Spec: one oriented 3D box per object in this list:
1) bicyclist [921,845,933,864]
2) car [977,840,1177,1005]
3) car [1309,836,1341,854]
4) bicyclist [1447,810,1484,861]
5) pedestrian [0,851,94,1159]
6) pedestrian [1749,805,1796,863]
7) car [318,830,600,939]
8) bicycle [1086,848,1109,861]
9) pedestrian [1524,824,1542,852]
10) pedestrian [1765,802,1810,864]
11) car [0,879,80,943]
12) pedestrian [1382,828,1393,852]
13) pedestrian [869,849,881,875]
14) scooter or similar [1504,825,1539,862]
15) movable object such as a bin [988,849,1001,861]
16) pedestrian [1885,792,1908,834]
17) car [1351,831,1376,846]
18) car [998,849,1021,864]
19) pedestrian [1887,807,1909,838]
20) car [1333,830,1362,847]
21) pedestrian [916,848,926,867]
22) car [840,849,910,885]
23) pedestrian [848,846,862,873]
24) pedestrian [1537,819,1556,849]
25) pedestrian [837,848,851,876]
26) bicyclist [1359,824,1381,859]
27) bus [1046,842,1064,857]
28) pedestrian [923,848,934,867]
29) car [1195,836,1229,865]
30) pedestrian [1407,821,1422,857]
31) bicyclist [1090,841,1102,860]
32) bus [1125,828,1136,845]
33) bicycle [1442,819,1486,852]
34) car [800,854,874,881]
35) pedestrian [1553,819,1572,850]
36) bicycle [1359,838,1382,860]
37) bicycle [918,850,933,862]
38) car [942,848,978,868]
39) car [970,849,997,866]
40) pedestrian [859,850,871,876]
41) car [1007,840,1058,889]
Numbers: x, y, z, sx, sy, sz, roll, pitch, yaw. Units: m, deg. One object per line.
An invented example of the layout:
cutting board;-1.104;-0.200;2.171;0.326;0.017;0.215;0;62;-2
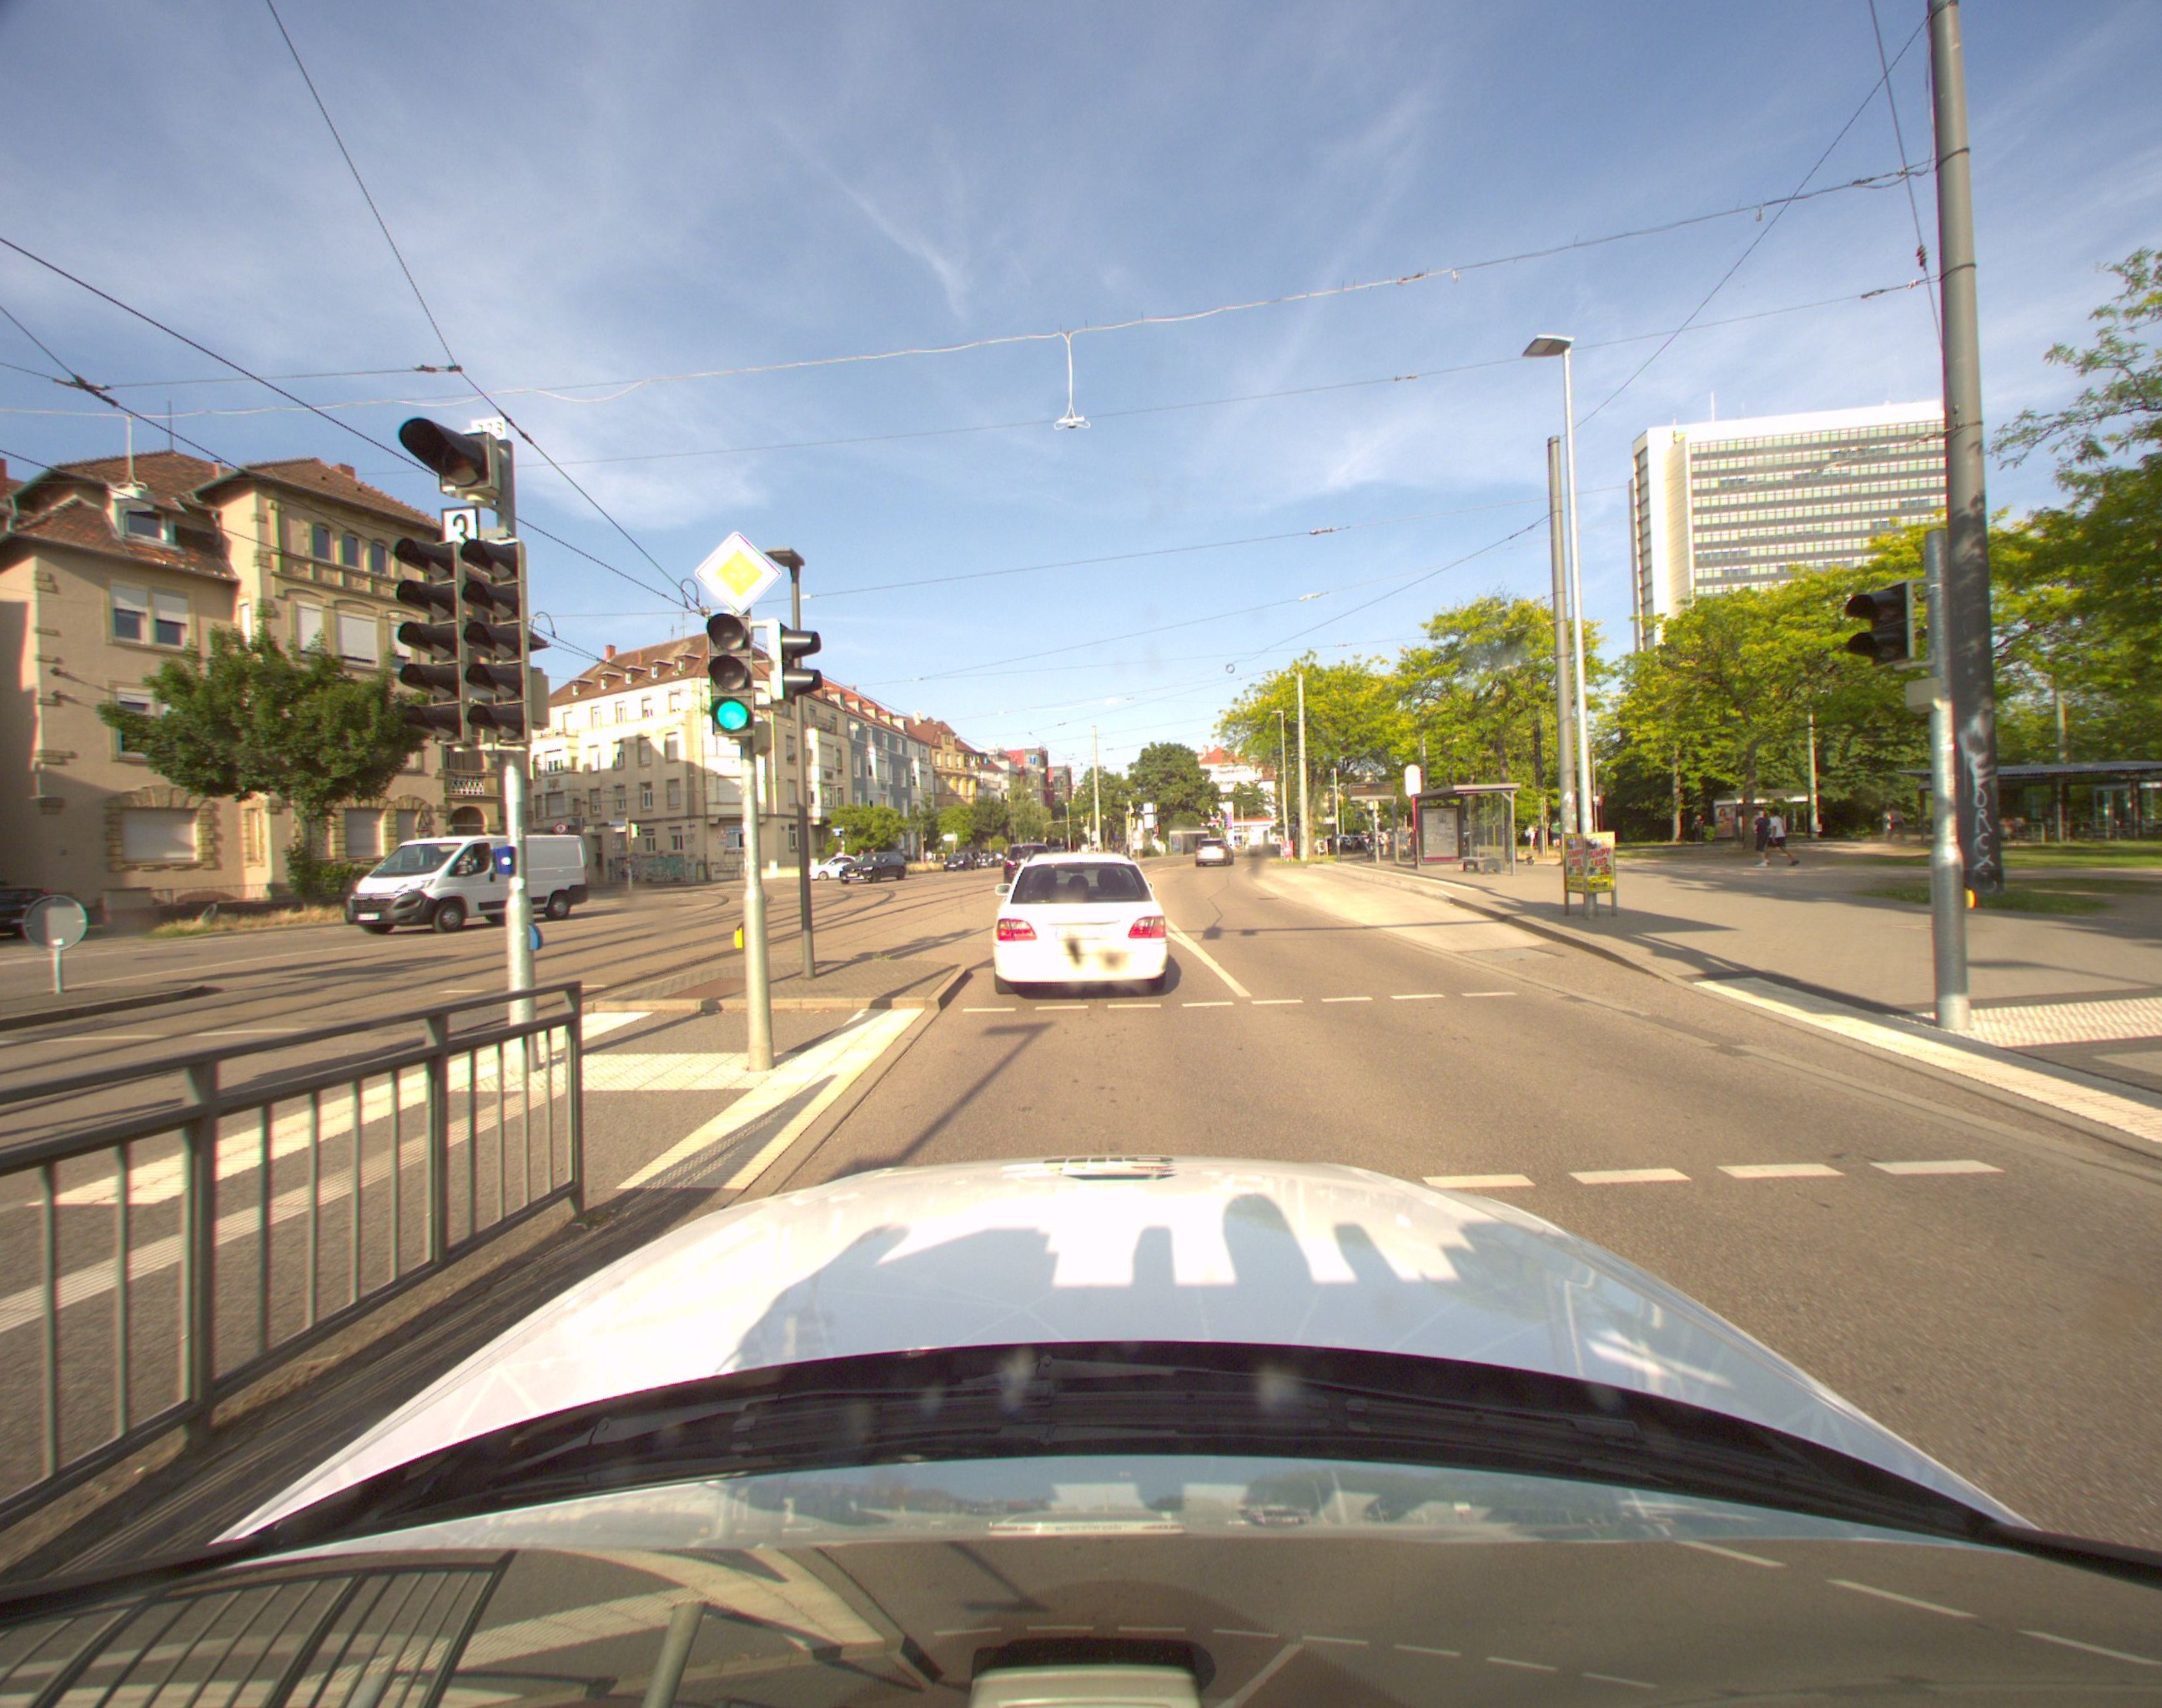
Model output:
bicyclist;-13.228;0.035;69.992;0.757;1.668;1.168;-2;0;2
car;0.010;0.618;9.436;1.829;1.501;3.816;-1;0;1
car;23.074;-0.868;76.896;1.835;1.515;4.026;-4;0;31
bicyclist;13.810;-0.663;29.256;0.647;1.745;1.140;-5;0;0
pedestrian;-6.340;0.839;4.508;0.877;1.670;0.672;-2;0;3
pedestrian;21.446;-0.614;25.266;0.673;1.777;0.875;0;0;-18
car;-14.700;0.600;19.789;2.163;2.239;5.268;-2;1;10
bicycle;1.478;0.053;72.776;1.907;0.994;0.727;-4;0;1
pedestrian;26.055;-0.908;46.956;0.638;1.610;0.691;-2;0;1
pedestrian;22.187;-0.644;25.579;0.674;1.897;0.872;0;0;-26
car;-30.273;1.601;22.866;3.950;1.632;1.787;-2;1;26
pedestrian;21.516;-0.978;57.120;0.636;1.665;0.694;-2;0;17
pedestrian;-15.048;0.553;59.590;0.581;1.881;0.628;-2;0;6
scooter or similar;15.261;-0.356;28.227;0.351;1.232;1.131;-2;0;-13
movable object such as a bin;-11.040;0.085;104.505;1.601;1.421;1.082;-3;0;-6
pedestrian;36.825;-1.833;36.778;0.462;1.868;0.601;0;-1;-25
car;31.692;-1.703;91.275;1.836;1.515;4.025;-4;0;30
car;-7.753;0.293;88.679;1.681;1.441;4.006;-2;1;5
pedestrian;47.038;-1.810;46.885;0.666;1.800;0.613;0;0;15
car;26.731;-1.587;81.596;1.836;1.515;4.025;-4;0;30
pedestrian;-14.606;0.318;74.326;0.635;1.751;0.912;-2;0;4
car;-10.407;0.613;41.468;1.757;1.494;4.754;-2;2;7
pedestrian;-15.871;0.407;57.260;0.670;1.848;0.651;-2;0;8
pedestrian;26.311;-1.129;46.032;0.638;1.665;0.691;-2;0;1
pedestrian;-16.628;0.563;57.216;0.655;1.881;0.627;-2;0;5
bicyclist;15.149;-0.637;42.695;0.716;1.745;1.142;-5;0;5
bus;-3.005;-0.511;95.489;1.838;1.636;4.160;-2;0;1
pedestrian;-13.914;0.302;74.282;0.635;1.751;0.912;-2;0;4
car;7.642;-0.219;47.298;1.823;1.600;3.827;-1;0;11
pedestrian;16.883;-0.765;41.219;0.574;1.777;0.589;0;0;9
bicyclist;1.326;-0.303;72.773;0.896;1.699;0.733;-4;0;2
bus;7.803;-2.699;128.165;1.790;2.555;4.003;0;0;3
bicycle;13.792;-0.657;29.398;0.638;1.088;1.940;-5;0;1
car;-15.274;0.840;50.975;4.020;1.457;1.779;-3;1;-38
pedestrian;26.652;-1.056;45.074;0.638;1.665;0.691;-2;0;1
bicycle;15.233;-0.243;42.911;0.637;1.088;1.736;-5;0;5
bicycle;-13.263;0.200;69.616;0.766;0.965;2.036;-2;1;3
car;-9.350;0.286;63.149;1.758;1.433;4.007;-2;1;6
car;-8.878;0.267;74.532;1.626;1.433;3.634;-2;1;5
pedestrian;-15.784;0.659;59.573;0.581;1.881;0.627;-2;0;5
car;-1.698;0.331;28.676;1.638;1.600;3.810;-1;0;-4
